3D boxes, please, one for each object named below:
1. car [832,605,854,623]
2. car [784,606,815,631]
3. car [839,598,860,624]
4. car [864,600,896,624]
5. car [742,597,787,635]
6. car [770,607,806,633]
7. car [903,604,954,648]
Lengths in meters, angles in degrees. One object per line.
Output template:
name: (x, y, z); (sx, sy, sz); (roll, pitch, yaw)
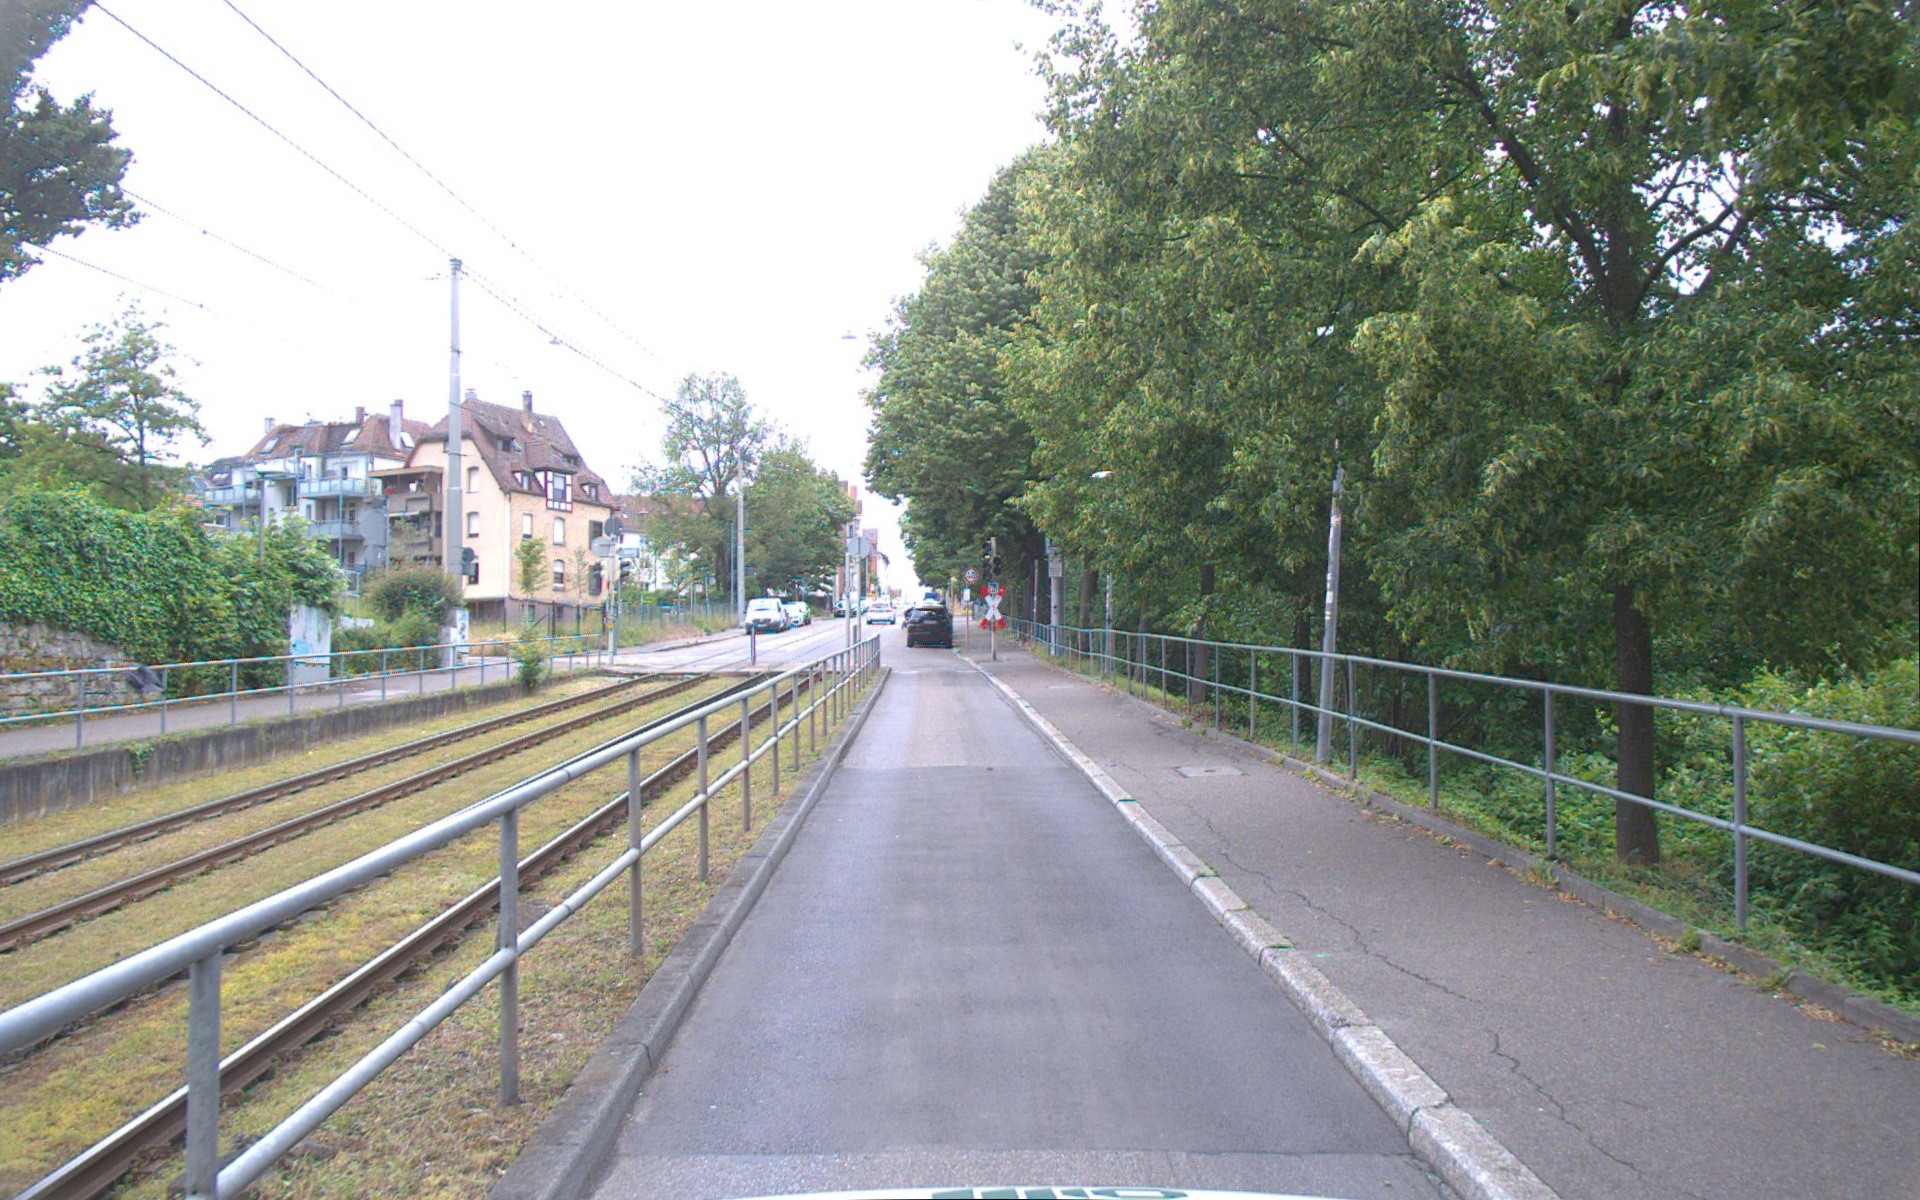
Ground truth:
car: (-12.103, 1.484, 171.802); (1.952, 1.840, 4.000); (0, -1, 0)
car: (-10.759, 1.200, 111.366); (1.688, 1.607, 4.180); (-1, 0, -1)
car: (-12.410, 1.231, 186.292); (2.186, 2.813, 5.795); (0, -1, -3)
car: (-5.195, 0.809, 108.205); (1.953, 1.525, 4.310); (1, -1, -1)
car: (-10.746, 0.898, 91.205); (1.995, 1.914, 4.882); (-3, -1, -2)
car: (-10.964, 1.262, 105.565); (1.847, 1.552, 4.662); (-2, -1, -1)
car: (-1.224, 0.992, 65.645); (1.865, 1.643, 4.600); (1, 0, 0)
